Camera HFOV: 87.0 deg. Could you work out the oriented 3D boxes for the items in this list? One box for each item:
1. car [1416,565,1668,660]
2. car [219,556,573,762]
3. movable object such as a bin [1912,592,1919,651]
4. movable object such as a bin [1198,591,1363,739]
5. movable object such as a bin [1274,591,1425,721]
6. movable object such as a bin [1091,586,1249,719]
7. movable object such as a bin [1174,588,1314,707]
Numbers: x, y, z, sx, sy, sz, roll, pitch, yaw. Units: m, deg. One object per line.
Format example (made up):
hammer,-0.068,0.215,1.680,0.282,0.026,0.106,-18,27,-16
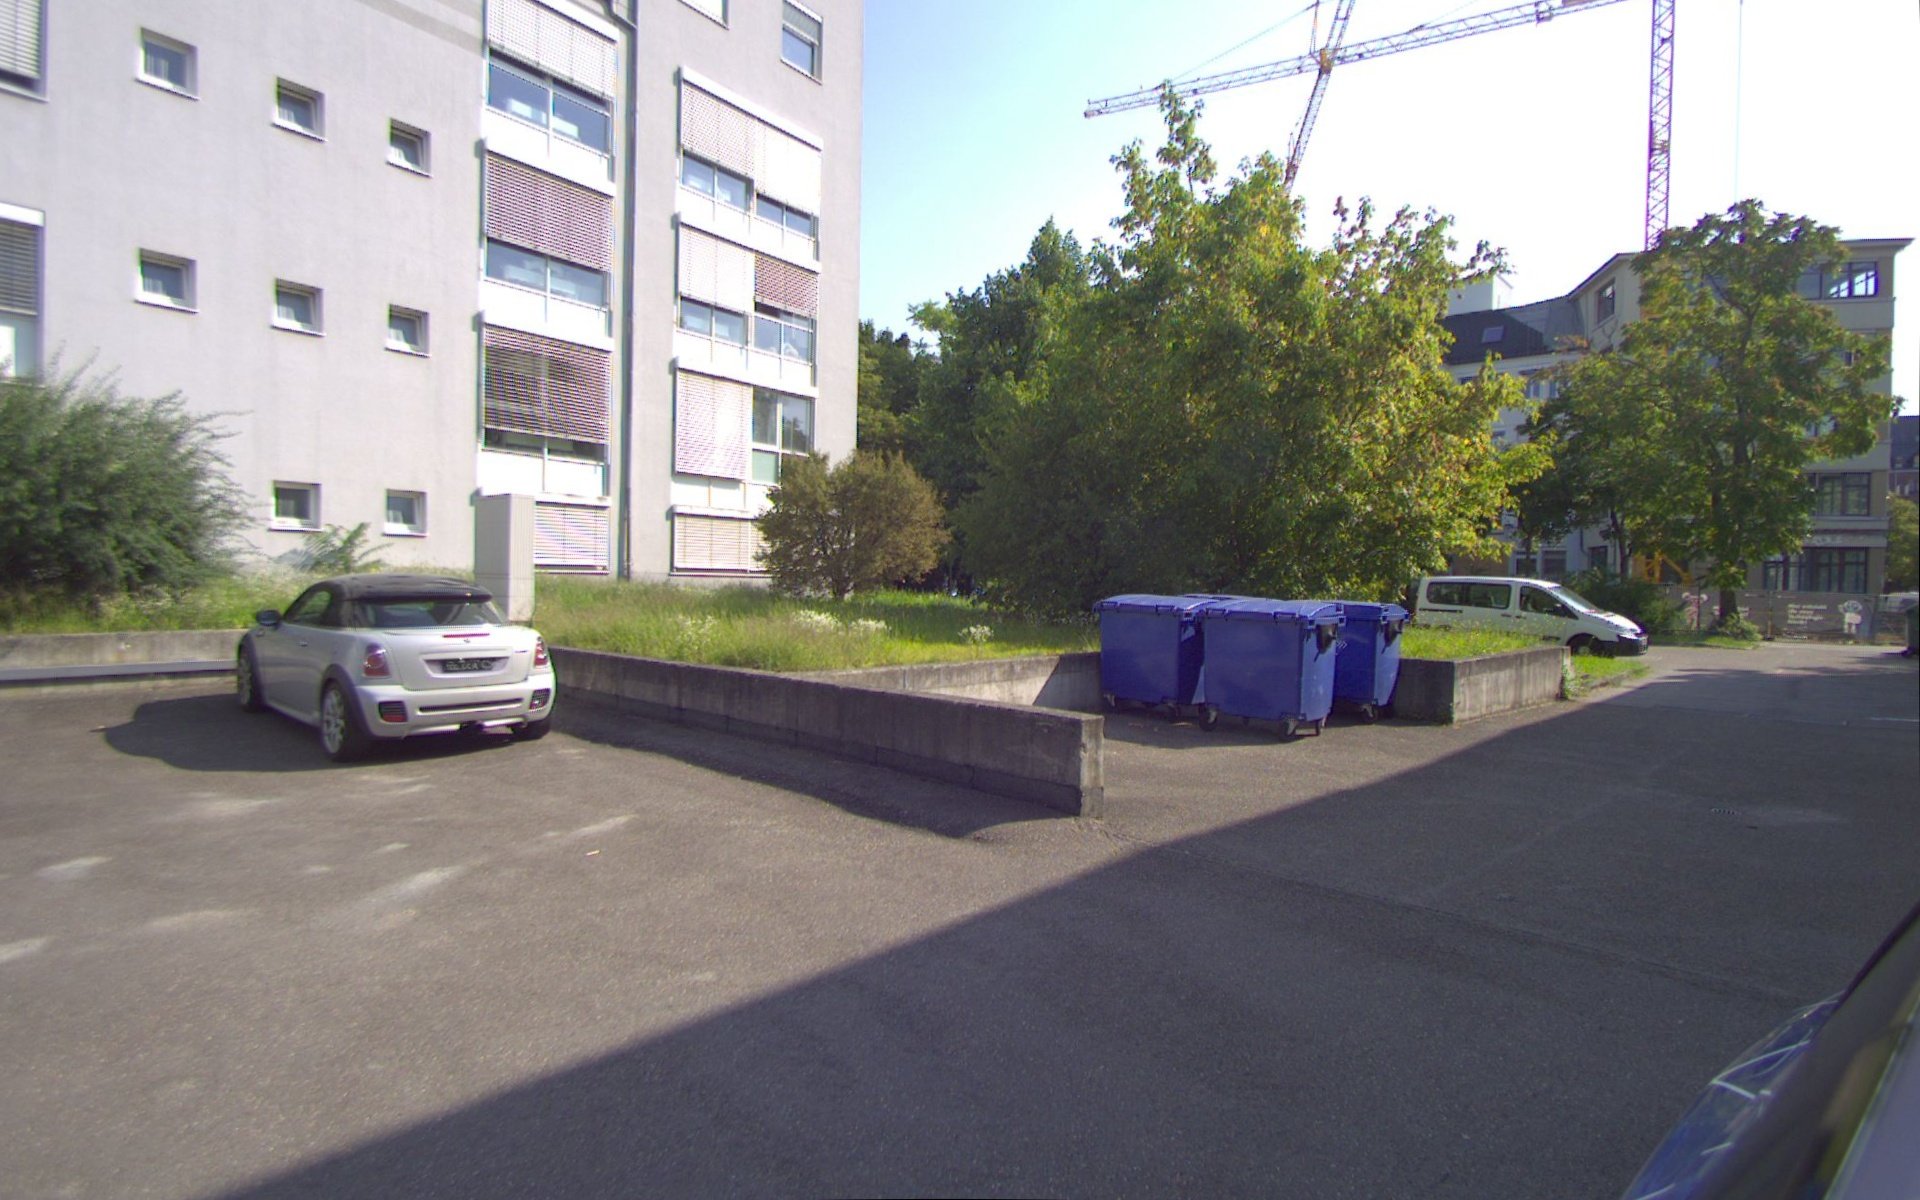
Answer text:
car,13.548,0.213,23.792,1.877,1.955,4.782,1,2,-44
car,-5.154,0.378,9.072,3.567,1.455,1.635,3,1,41
movable object such as a bin,25.118,0.555,25.571,1.521,1.484,1.255,2,1,44
movable object such as a bin,3.301,0.607,10.410,1.210,1.368,1.256,2,1,42
movable object such as a bin,4.427,0.581,11.501,1.197,1.344,1.255,2,1,44
movable object such as a bin,2.354,0.536,11.355,1.254,1.344,1.255,2,1,44
movable object such as a bin,3.512,0.543,12.503,1.197,1.344,1.255,2,1,44
